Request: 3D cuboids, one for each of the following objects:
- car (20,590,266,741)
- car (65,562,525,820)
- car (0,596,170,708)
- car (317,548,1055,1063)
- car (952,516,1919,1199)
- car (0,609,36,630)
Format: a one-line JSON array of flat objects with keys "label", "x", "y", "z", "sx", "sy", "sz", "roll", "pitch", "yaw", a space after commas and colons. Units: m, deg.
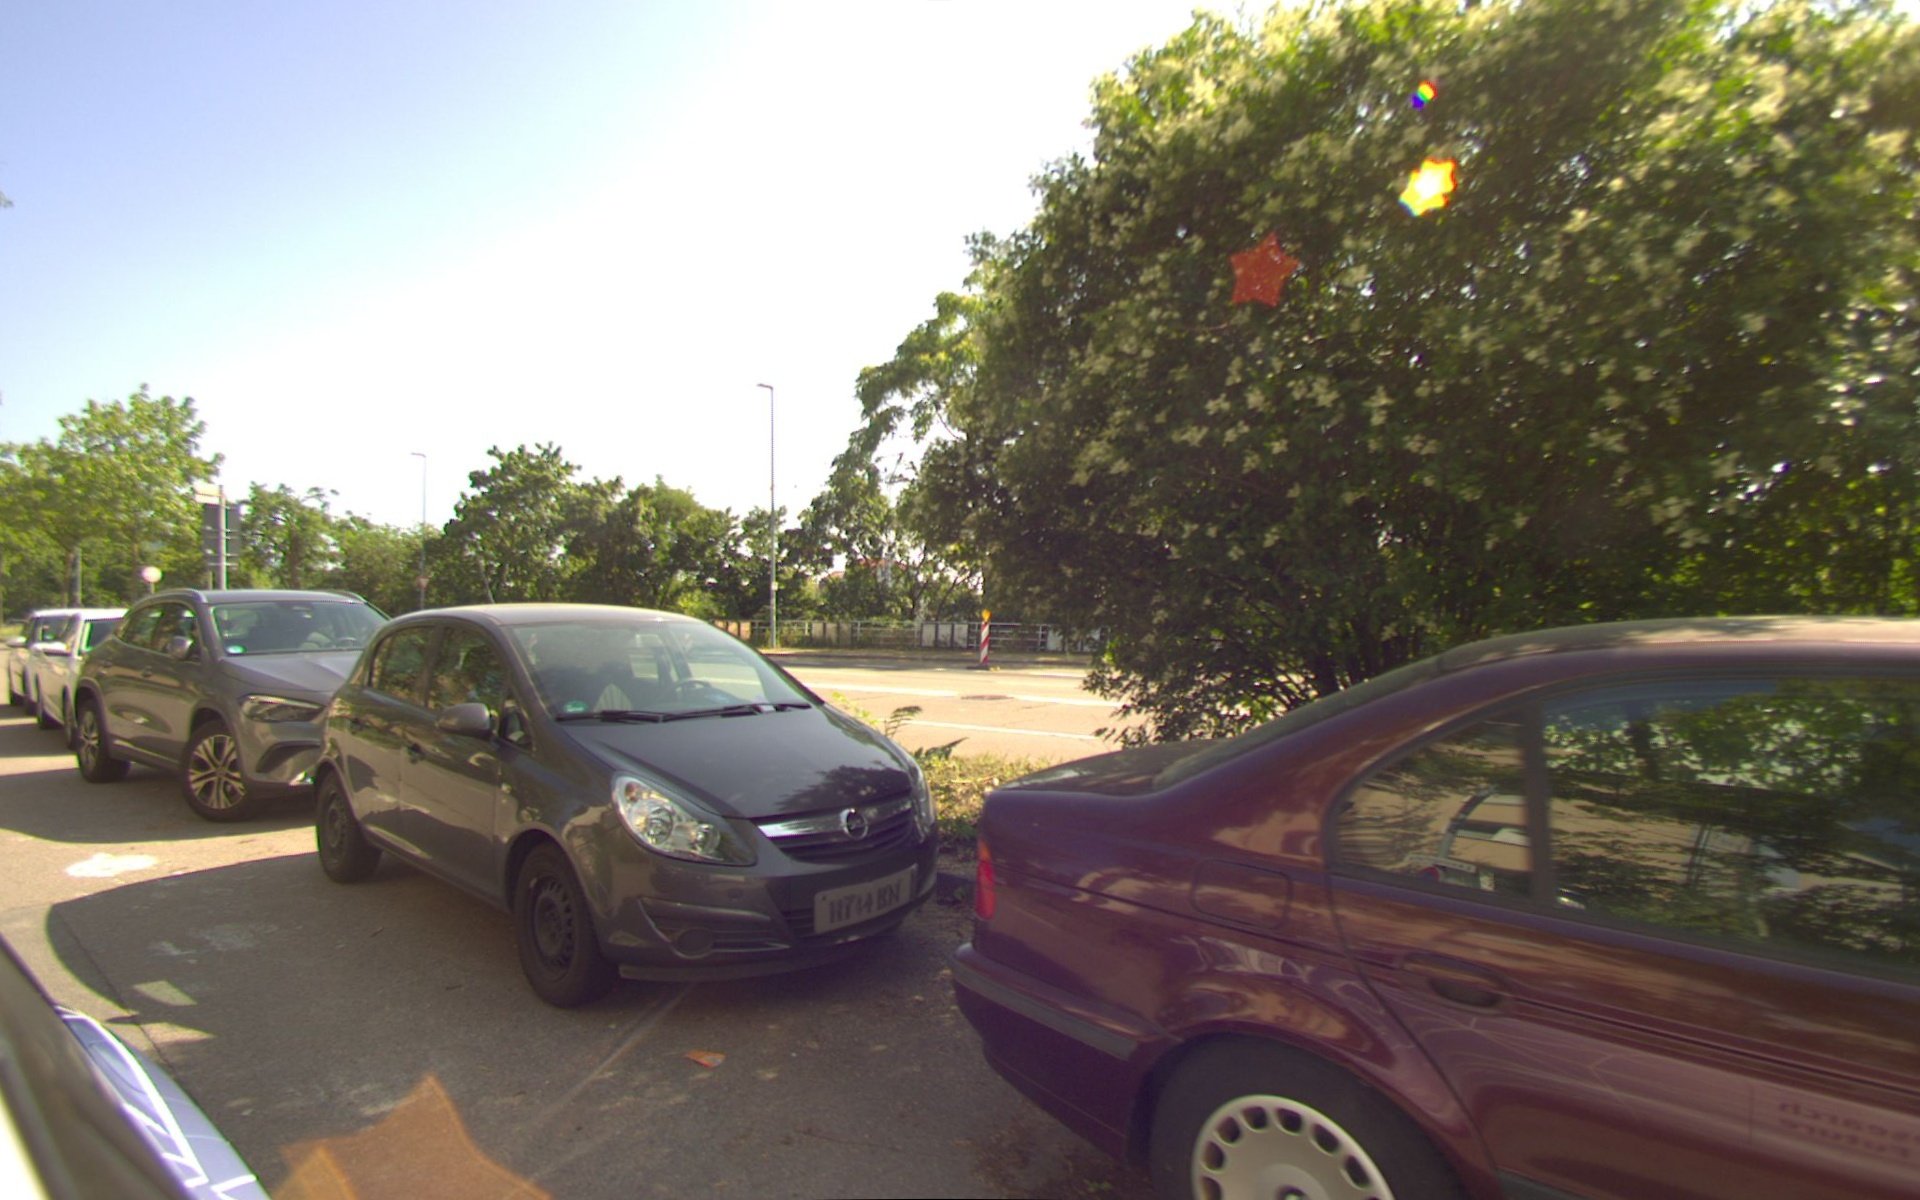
[{"label": "car", "x": -9.927, "y": 0.693, "z": 12.185, "sx": 4.131, "sy": 1.517, "sz": 1.703, "roll": -1, "pitch": -1, "yaw": 42}, {"label": "car", "x": -5.507, "y": 0.611, "z": 8.209, "sx": 4.177, "sy": 1.591, "sz": 1.756, "roll": -1, "pitch": -2, "yaw": 36}, {"label": "car", "x": -13.498, "y": 0.732, "z": 15.532, "sx": 3.461, "sy": 1.517, "sz": 1.602, "roll": -1, "pitch": -1, "yaw": 42}, {"label": "car", "x": -1.583, "y": 0.628, "z": 4.867, "sx": 3.876, "sy": 1.486, "sz": 1.645, "roll": -1, "pitch": -1, "yaw": 43}, {"label": "car", "x": 2.242, "y": 0.617, "z": 1.547, "sx": 4.593, "sy": 1.523, "sz": 1.646, "roll": -1, "pitch": 1, "yaw": 42}, {"label": "car", "x": -82.129, "y": 1.660, "z": 87.795, "sx": 4.721, "sy": 1.747, "sz": 1.975, "roll": -1, "pitch": -1, "yaw": 36}]
